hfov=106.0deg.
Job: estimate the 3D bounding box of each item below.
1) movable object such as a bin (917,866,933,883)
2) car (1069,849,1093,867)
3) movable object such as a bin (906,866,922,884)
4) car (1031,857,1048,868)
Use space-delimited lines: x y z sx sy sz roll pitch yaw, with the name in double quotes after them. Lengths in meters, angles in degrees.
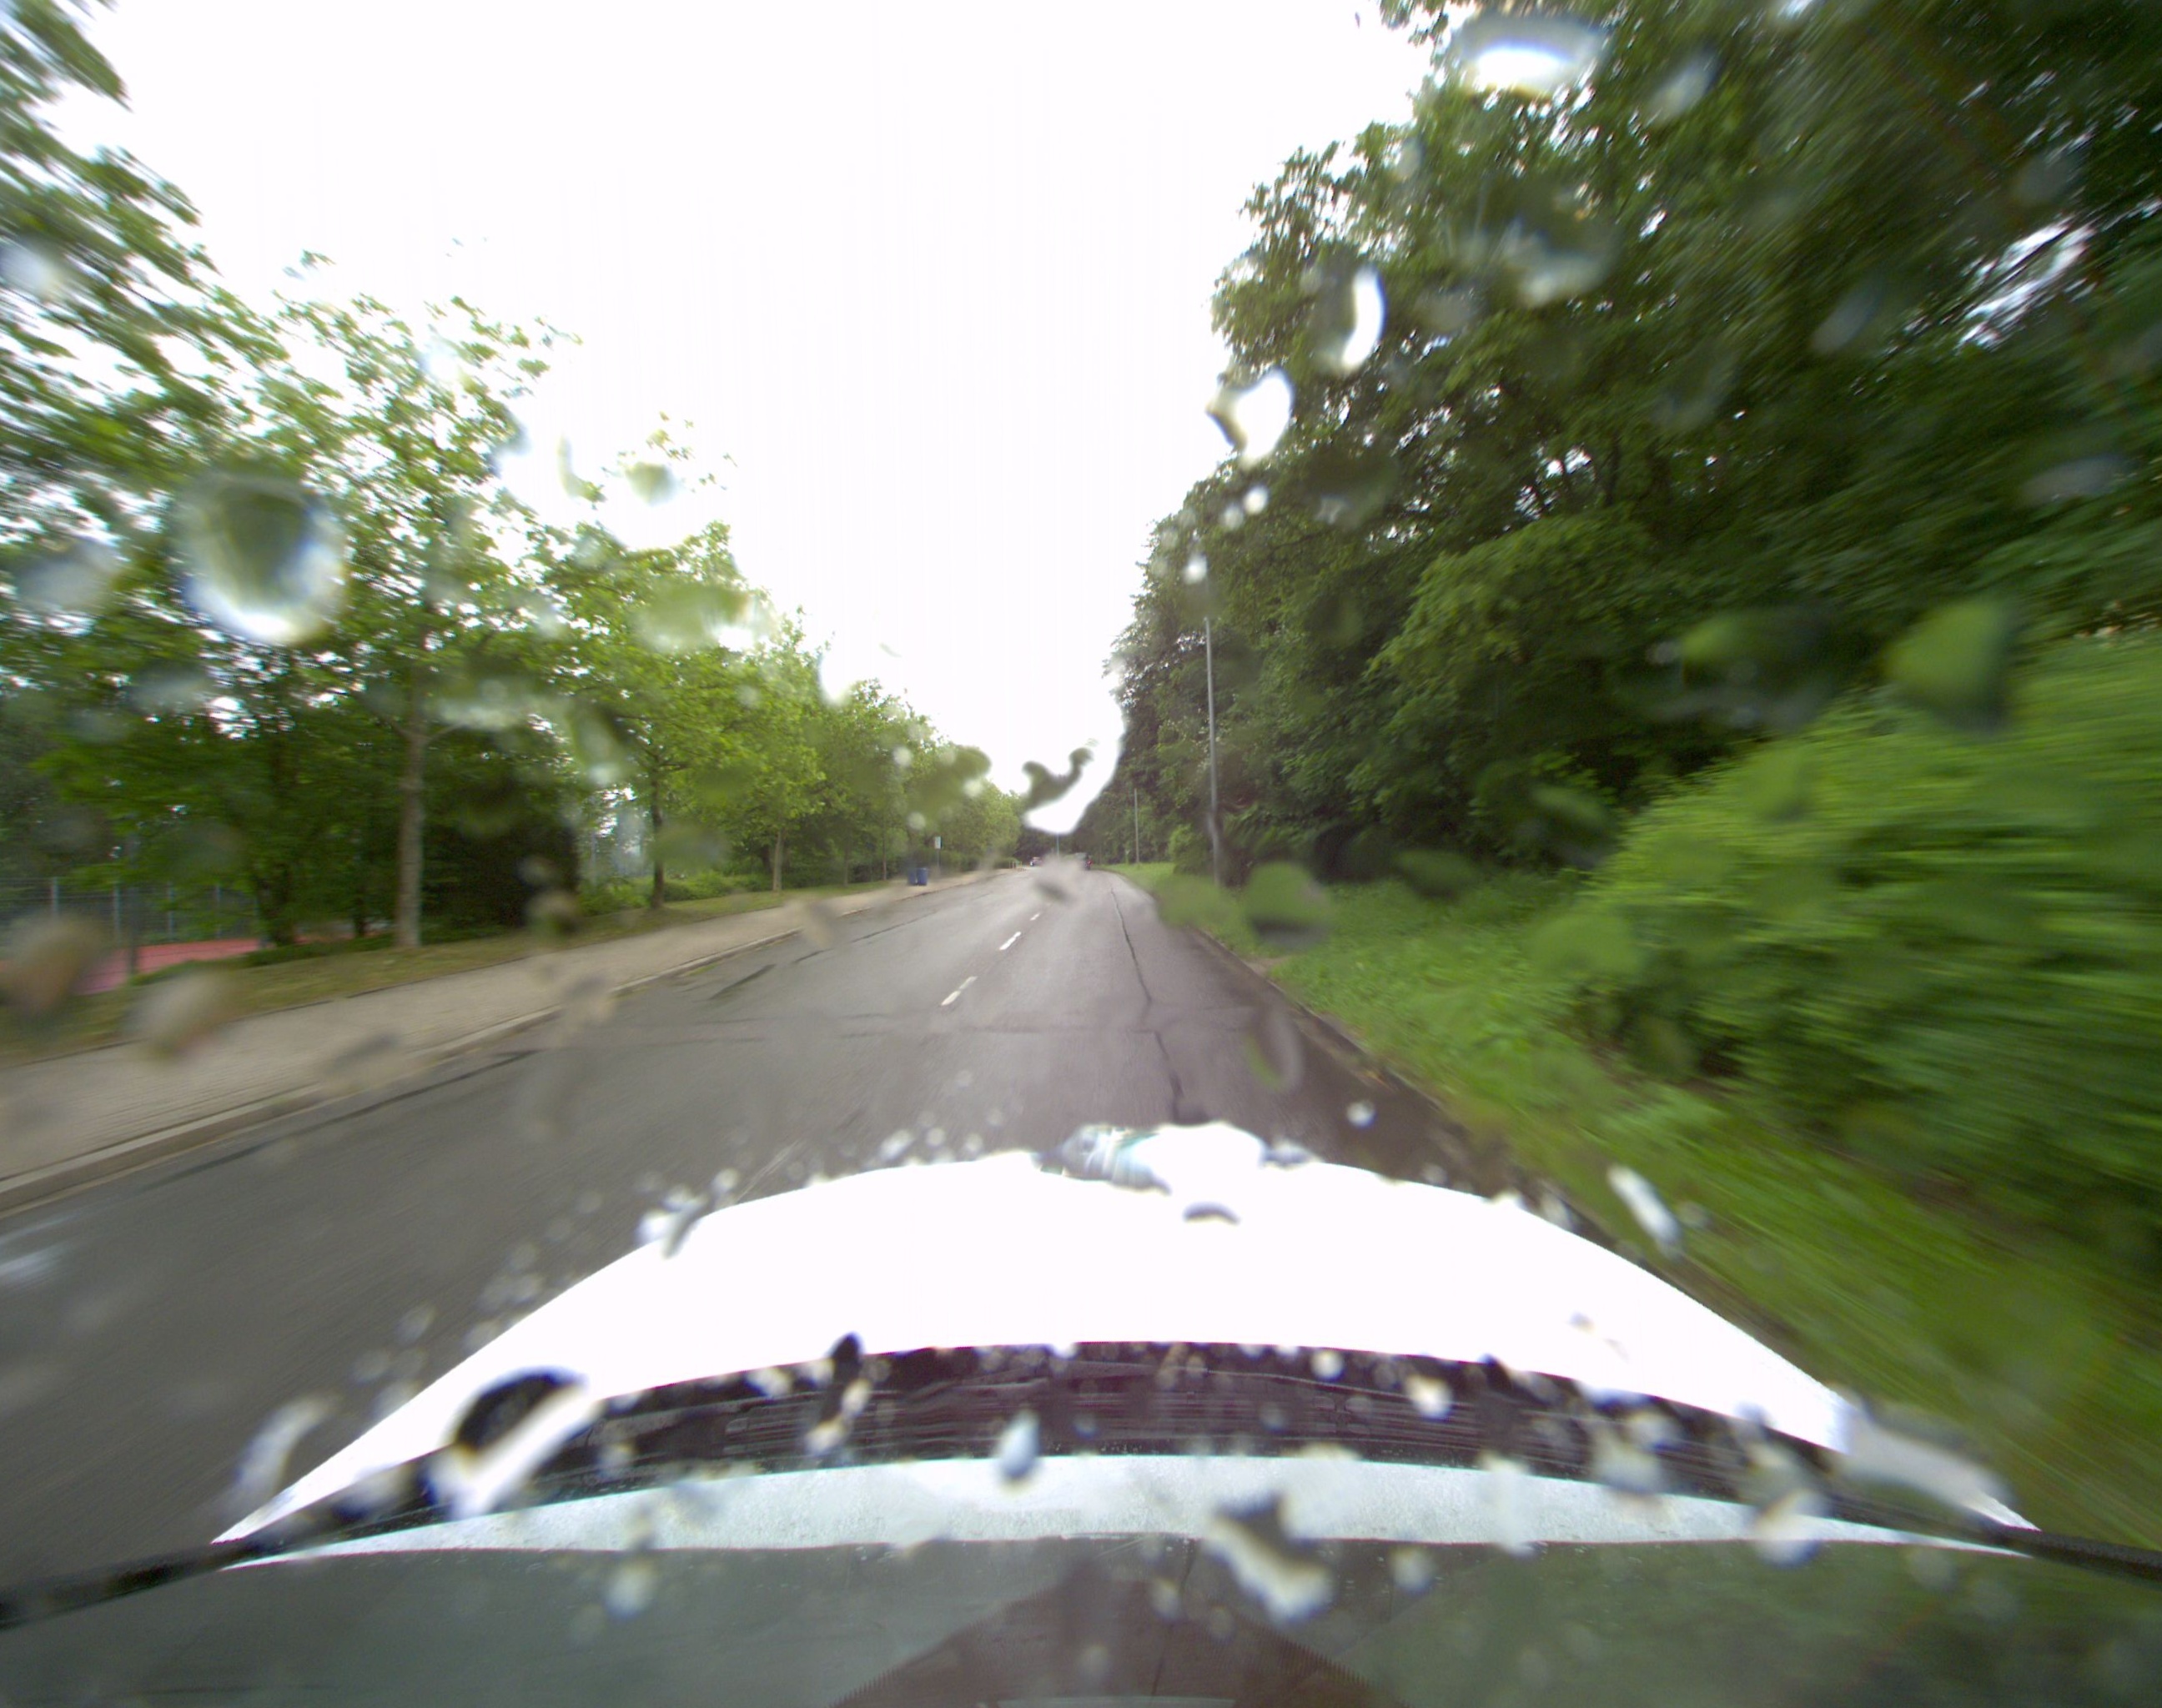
-9.647 1.283 50.361 0.670 1.026 0.827 -4 0 -30 "movable object such as a bin"
-0.077 0.381 87.422 1.993 1.793 3.988 0 1 -9 "car"
-10.279 1.277 50.012 0.670 1.026 0.827 -4 0 -30 "movable object such as a bin"
-6.829 1.356 133.693 1.996 1.772 3.981 -3 0 -14 "car"
